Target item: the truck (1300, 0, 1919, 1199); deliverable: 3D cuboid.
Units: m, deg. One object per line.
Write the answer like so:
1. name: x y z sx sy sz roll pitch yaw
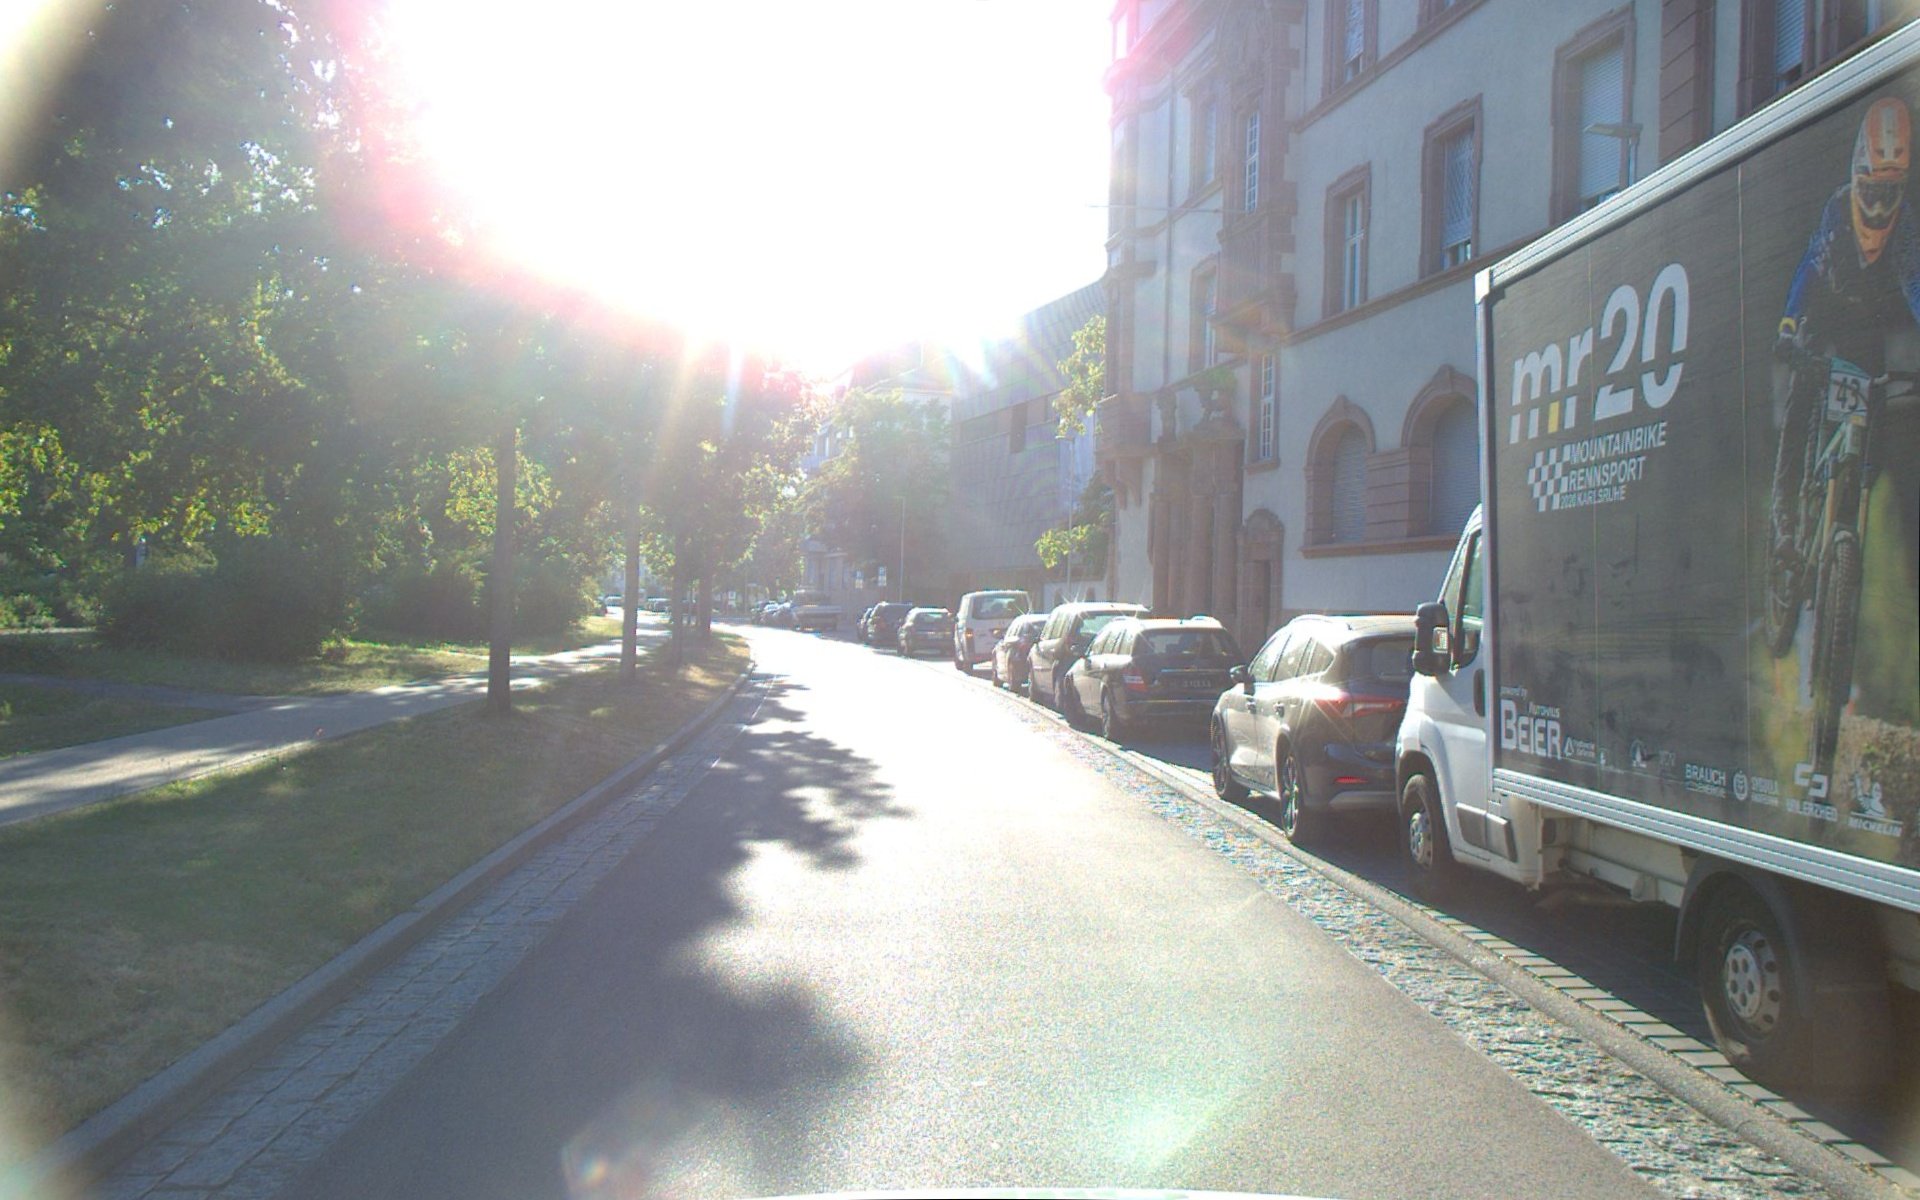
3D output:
1. truck: 3.479 -0.047 6.788 2.571 3.175 6.083 0 0 -4

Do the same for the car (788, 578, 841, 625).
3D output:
1. car: -8.205 0.066 93.071 2.173 2.574 6.127 0 0 -13

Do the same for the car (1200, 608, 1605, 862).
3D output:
1. car: 3.056 0.842 12.467 1.732 1.557 4.570 0 0 -1

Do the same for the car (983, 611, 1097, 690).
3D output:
1. car: 1.483 0.928 32.057 1.646 1.427 4.195 0 0 -5

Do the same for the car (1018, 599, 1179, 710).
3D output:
1. car: 2.130 0.813 26.588 1.781 1.630 4.186 0 0 -7

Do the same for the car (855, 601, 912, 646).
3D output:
1. car: -3.011 0.891 64.486 1.693 1.698 4.103 0 0 -11

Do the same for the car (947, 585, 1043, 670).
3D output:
1. car: 0.833 0.686 42.473 1.954 2.000 4.844 -2 0 -4

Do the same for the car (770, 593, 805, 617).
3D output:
1. car: -10.853 0.325 103.968 1.662 1.466 3.537 1 0 -14

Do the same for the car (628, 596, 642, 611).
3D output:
1. car: -45.189 0.470 229.695 1.763 2.034 3.987 2 0 -13

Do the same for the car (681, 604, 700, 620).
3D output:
1. car: -27.055 1.195 165.899 1.761 1.536 3.990 2 0 -10

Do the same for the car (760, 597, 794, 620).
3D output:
1. car: -12.006 0.541 108.575 1.662 1.466 4.088 1 0 -14

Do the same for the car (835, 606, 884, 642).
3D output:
1. car: -4.261 1.011 69.980 1.692 1.446 3.898 1 0 -9

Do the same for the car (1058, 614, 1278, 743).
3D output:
1. car: 2.536 0.916 21.270 1.835 1.461 4.516 0 0 -6

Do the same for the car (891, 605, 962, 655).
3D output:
1. car: -1.144 0.954 54.402 1.715 1.492 4.468 2 0 -9

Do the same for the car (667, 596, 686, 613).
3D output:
1. car: -30.670 0.474 179.054 1.763 1.755 3.987 2 0 -13
